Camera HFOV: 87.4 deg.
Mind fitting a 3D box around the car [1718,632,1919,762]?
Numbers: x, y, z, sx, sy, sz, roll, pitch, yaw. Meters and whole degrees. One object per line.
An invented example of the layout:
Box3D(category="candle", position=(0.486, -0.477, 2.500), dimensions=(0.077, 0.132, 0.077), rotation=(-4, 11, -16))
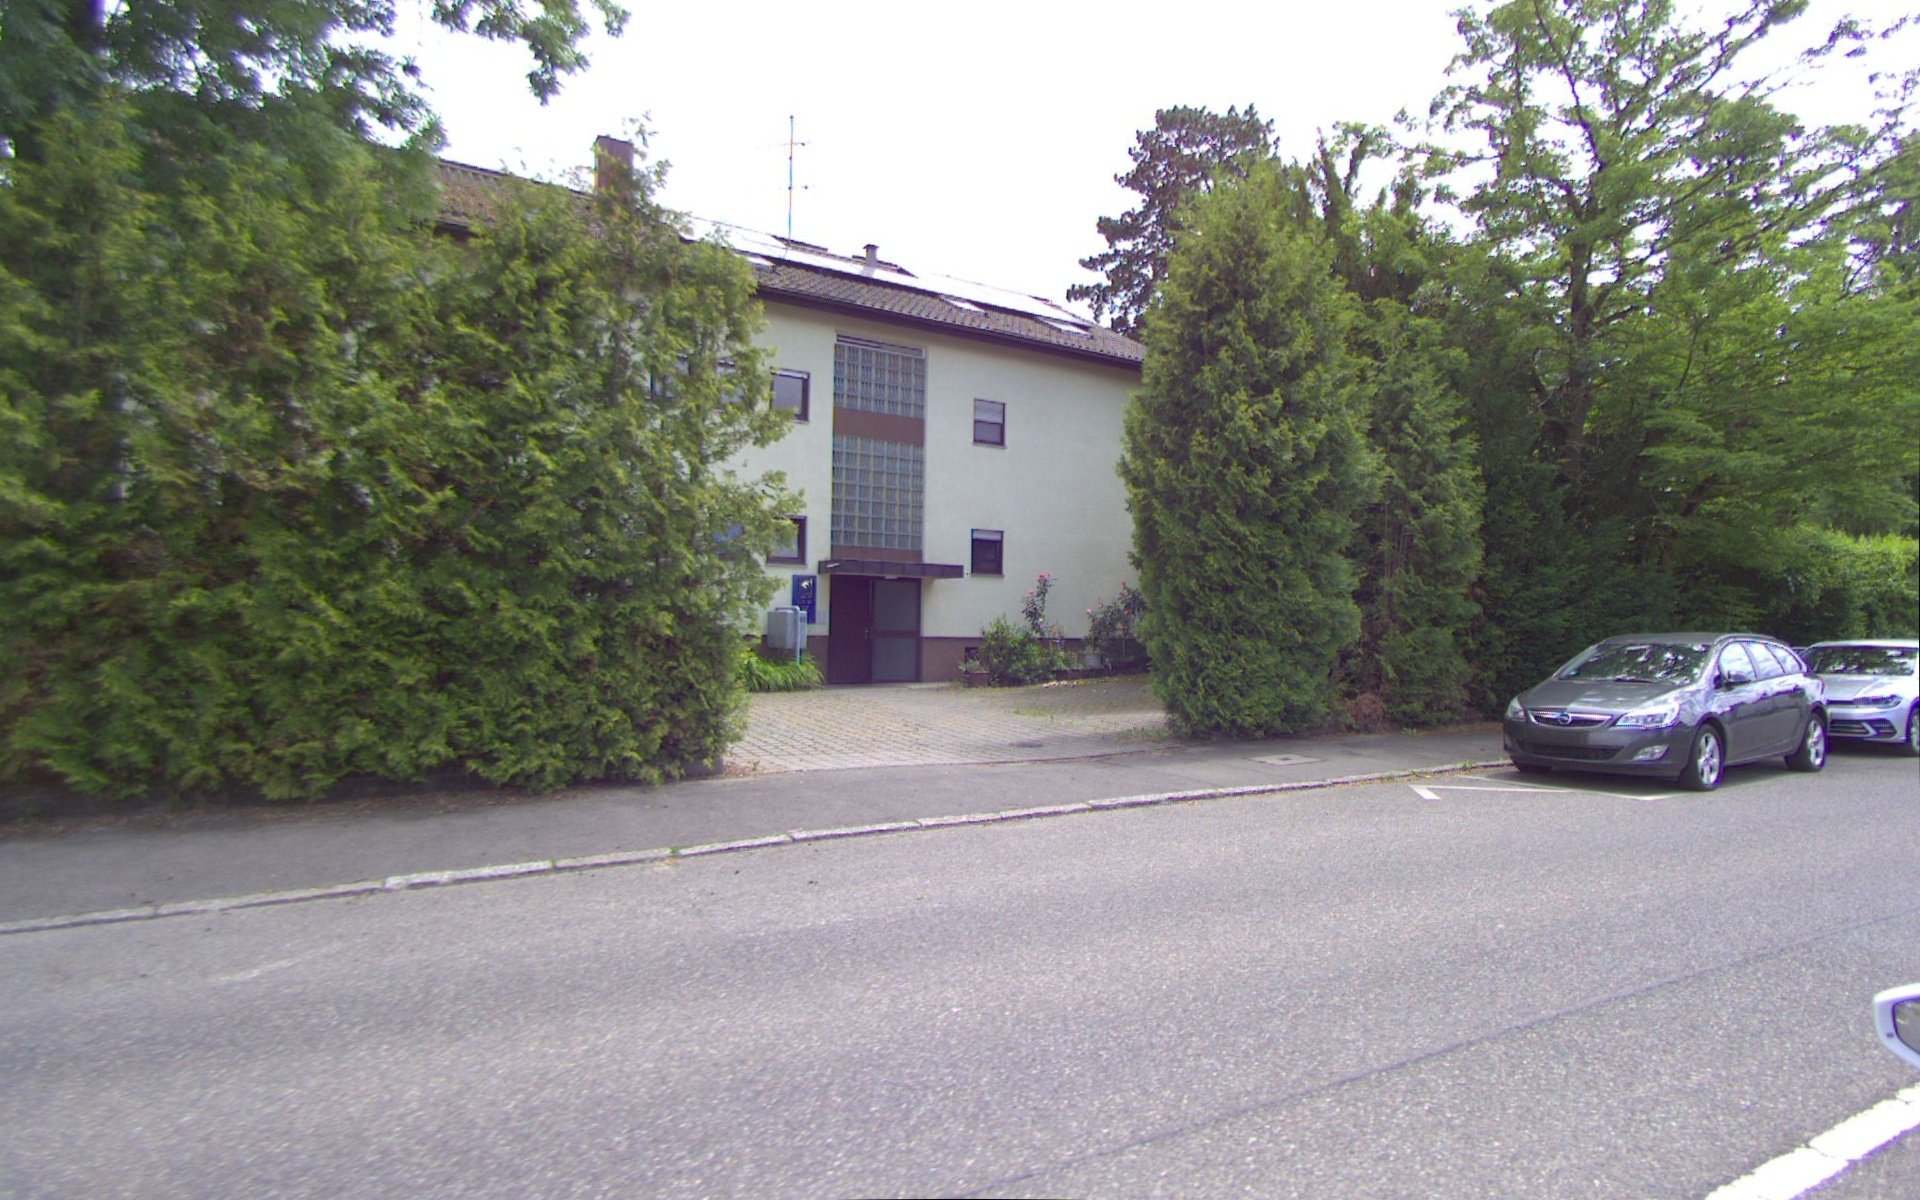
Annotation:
Box3D(category="car", position=(12.206, 1.217, 13.560), dimensions=(3.915, 1.524, 1.729), rotation=(1, -2, -30))

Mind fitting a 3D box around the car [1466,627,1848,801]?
Box3D(category="car", position=(7.547, 1.083, 10.762), dimensions=(4.427, 1.524, 1.728), rotation=(1, -3, -32))
